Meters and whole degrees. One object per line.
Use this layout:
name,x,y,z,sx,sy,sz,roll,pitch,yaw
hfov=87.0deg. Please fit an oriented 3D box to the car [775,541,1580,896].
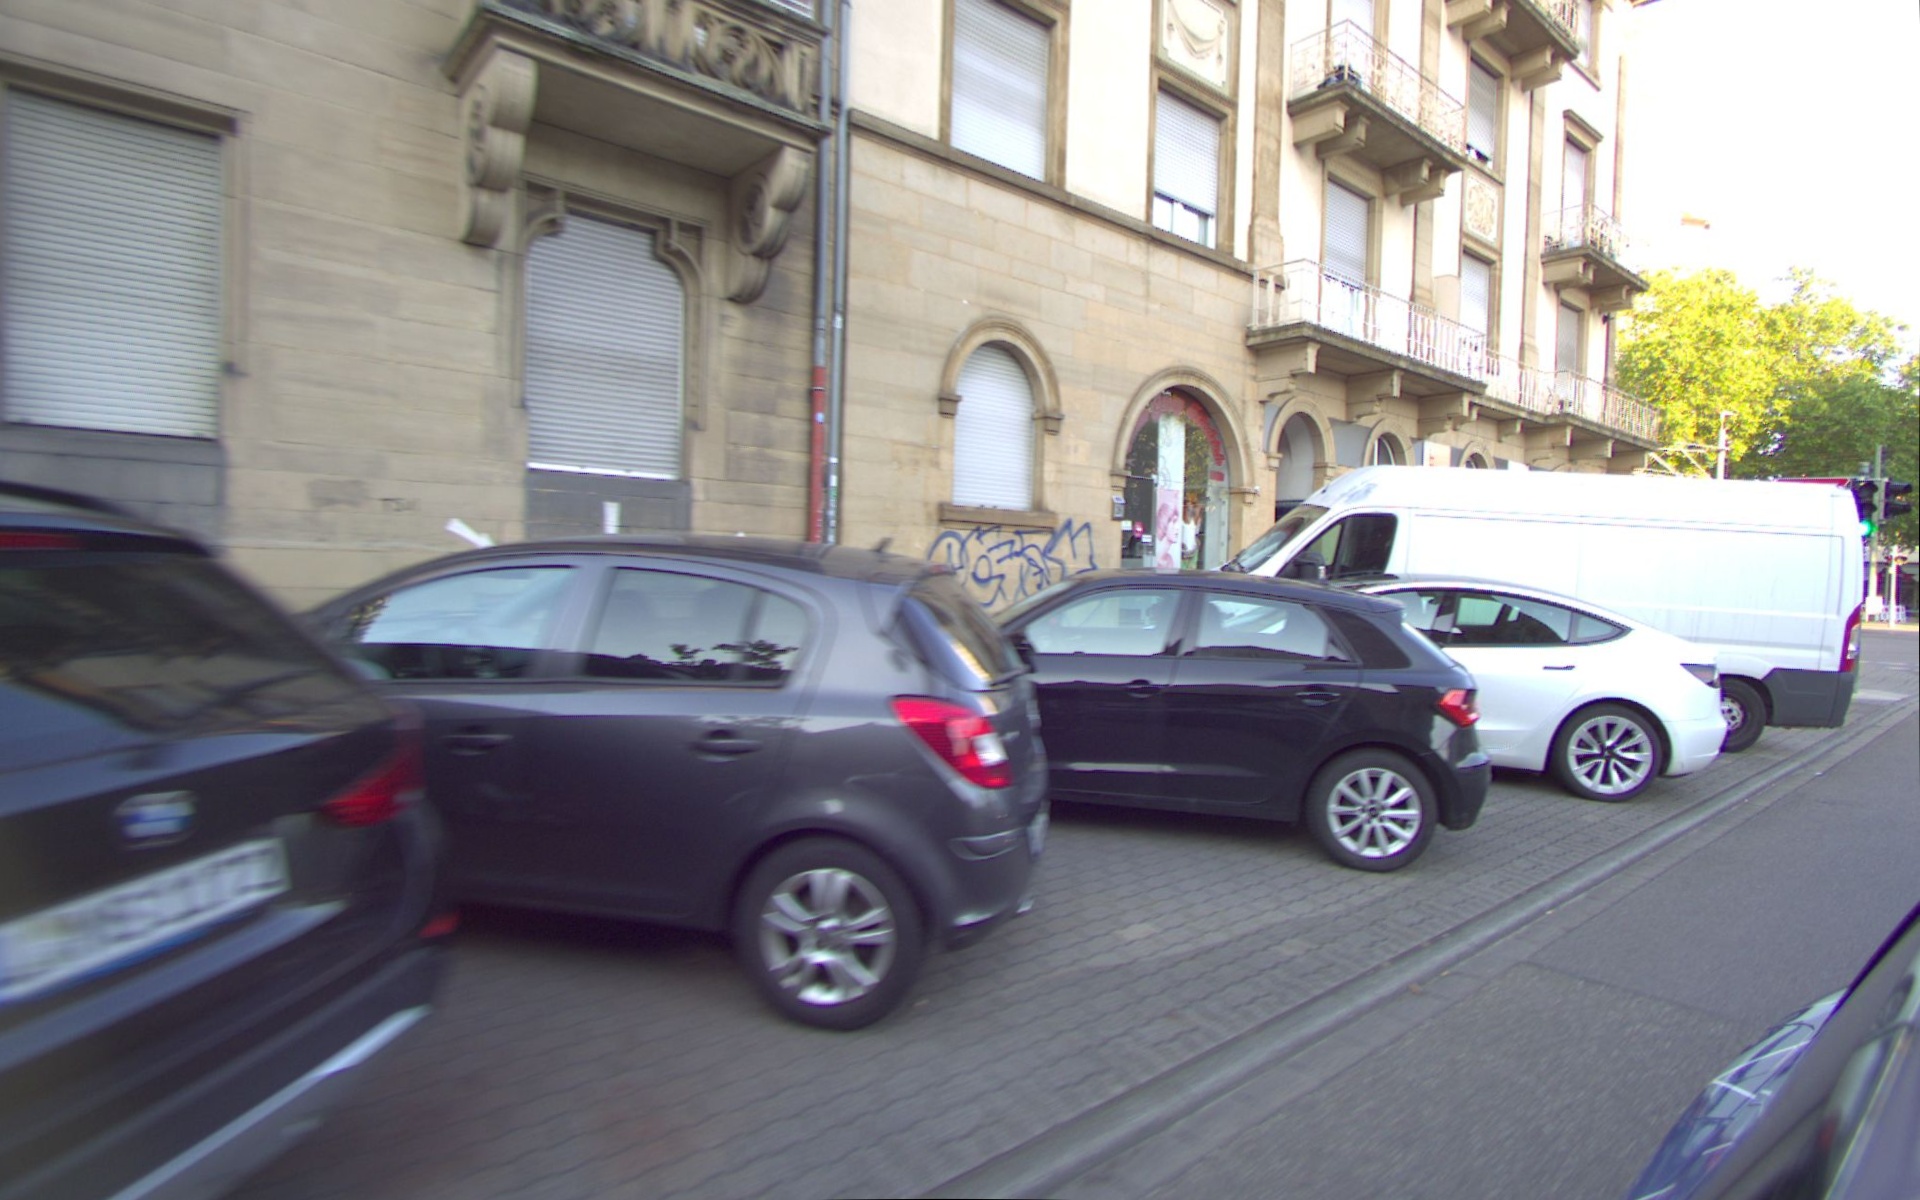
car,1.082,0.480,5.968,3.854,1.463,1.871,3,4,11

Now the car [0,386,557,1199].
car,-3.161,0.403,2.047,4.037,1.626,1.810,3,3,13

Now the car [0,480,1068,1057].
car,-1.569,0.395,4.080,3.852,1.563,1.714,3,4,9

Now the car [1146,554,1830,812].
car,3.606,0.464,7.828,4.189,1.470,1.994,3,3,12

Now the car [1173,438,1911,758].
car,5.182,-0.161,10.060,5.789,2.581,2.192,3,4,10
